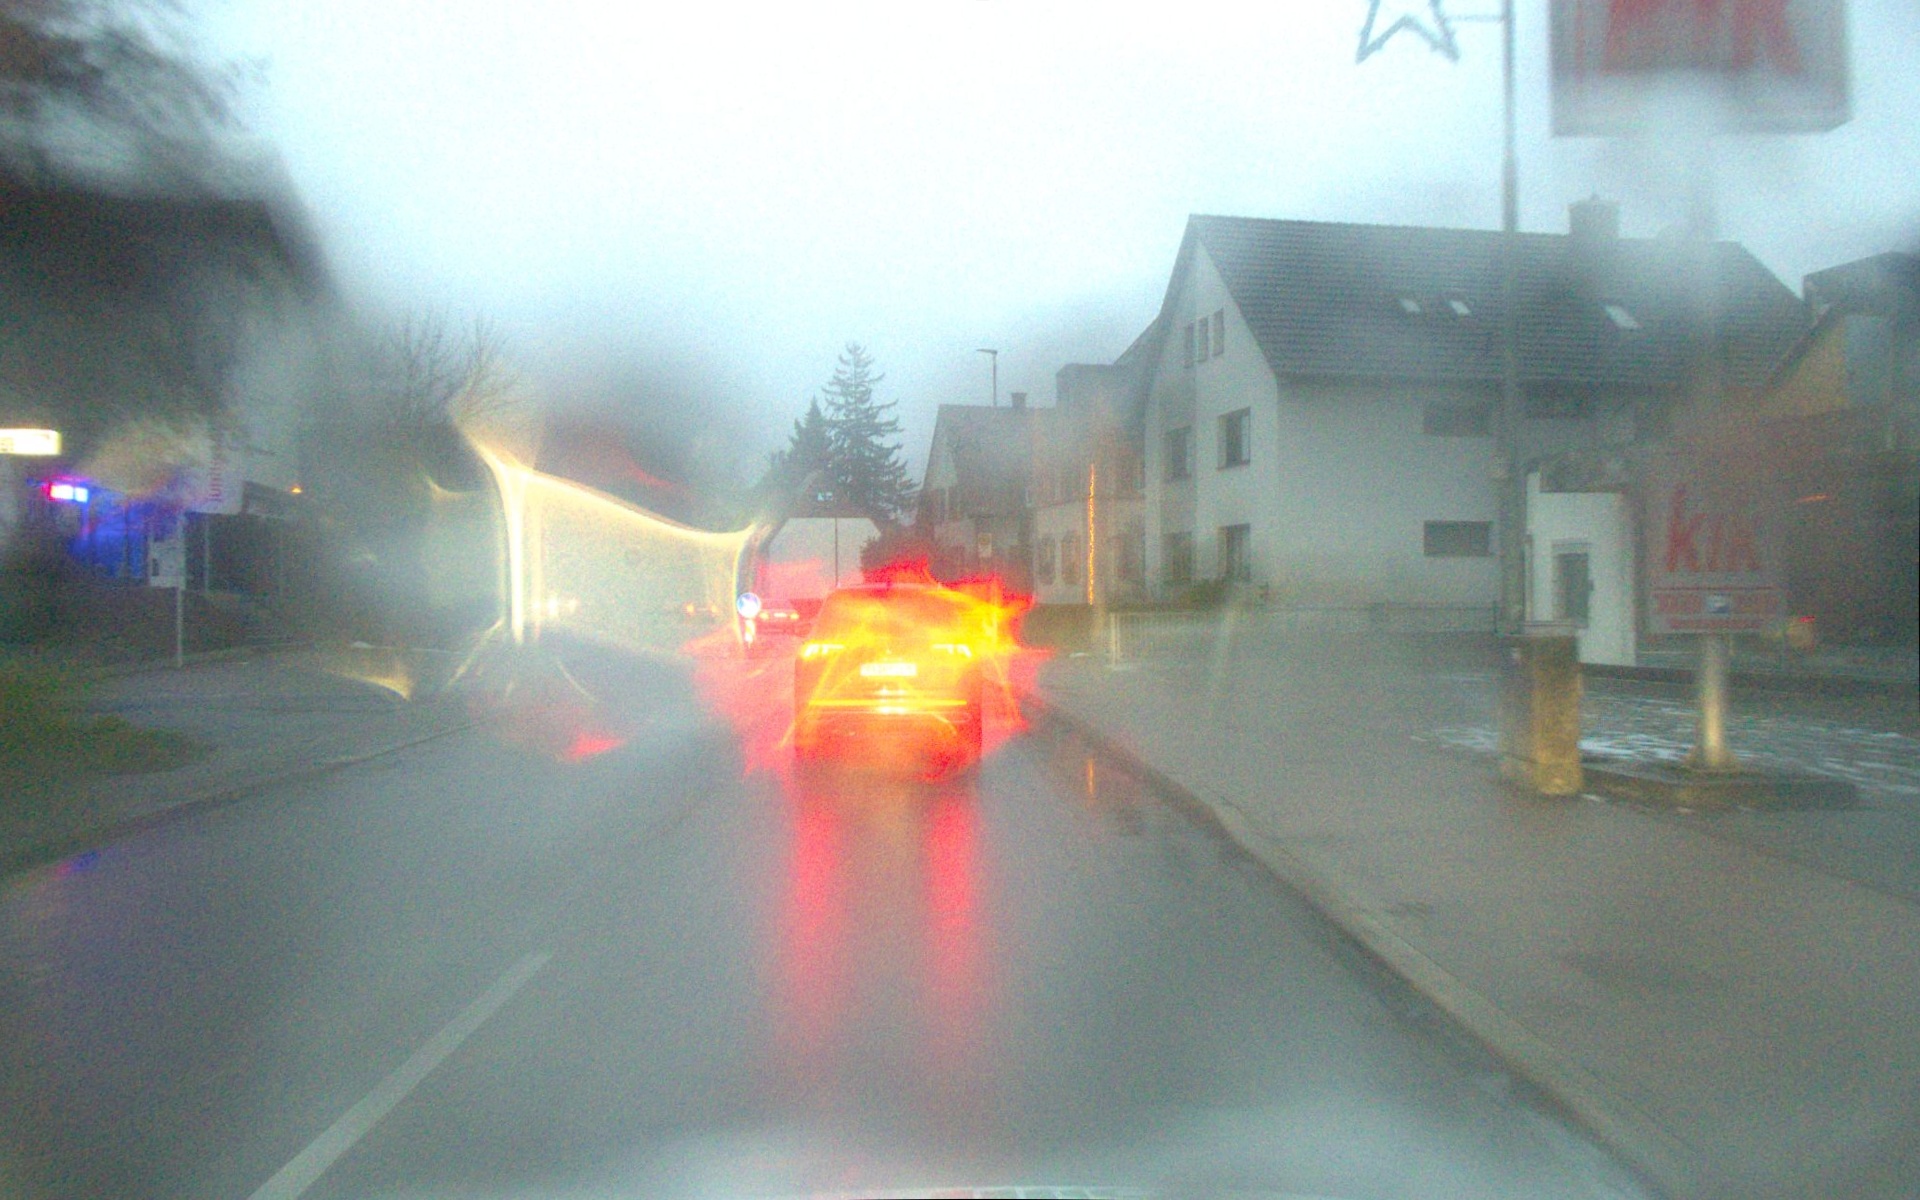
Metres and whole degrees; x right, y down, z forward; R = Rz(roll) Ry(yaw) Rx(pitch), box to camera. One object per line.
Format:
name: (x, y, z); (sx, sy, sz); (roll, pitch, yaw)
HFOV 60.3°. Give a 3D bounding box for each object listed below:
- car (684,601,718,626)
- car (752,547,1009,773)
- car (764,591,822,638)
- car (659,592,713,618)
car: (-15.253, 0.781, 97.311); (1.809, 1.355, 3.927); (-1, 0, -11)
car: (-0.795, 0.549, 17.194); (2.263, 1.972, 5.016); (-1, 0, -2)
car: (-7.298, 0.627, 71.978); (2.266, 1.972, 5.008); (-1, 0, -9)
car: (-21.997, 0.384, 132.685); (4.176, 2.049, 1.804); (-1, 0, -15)
